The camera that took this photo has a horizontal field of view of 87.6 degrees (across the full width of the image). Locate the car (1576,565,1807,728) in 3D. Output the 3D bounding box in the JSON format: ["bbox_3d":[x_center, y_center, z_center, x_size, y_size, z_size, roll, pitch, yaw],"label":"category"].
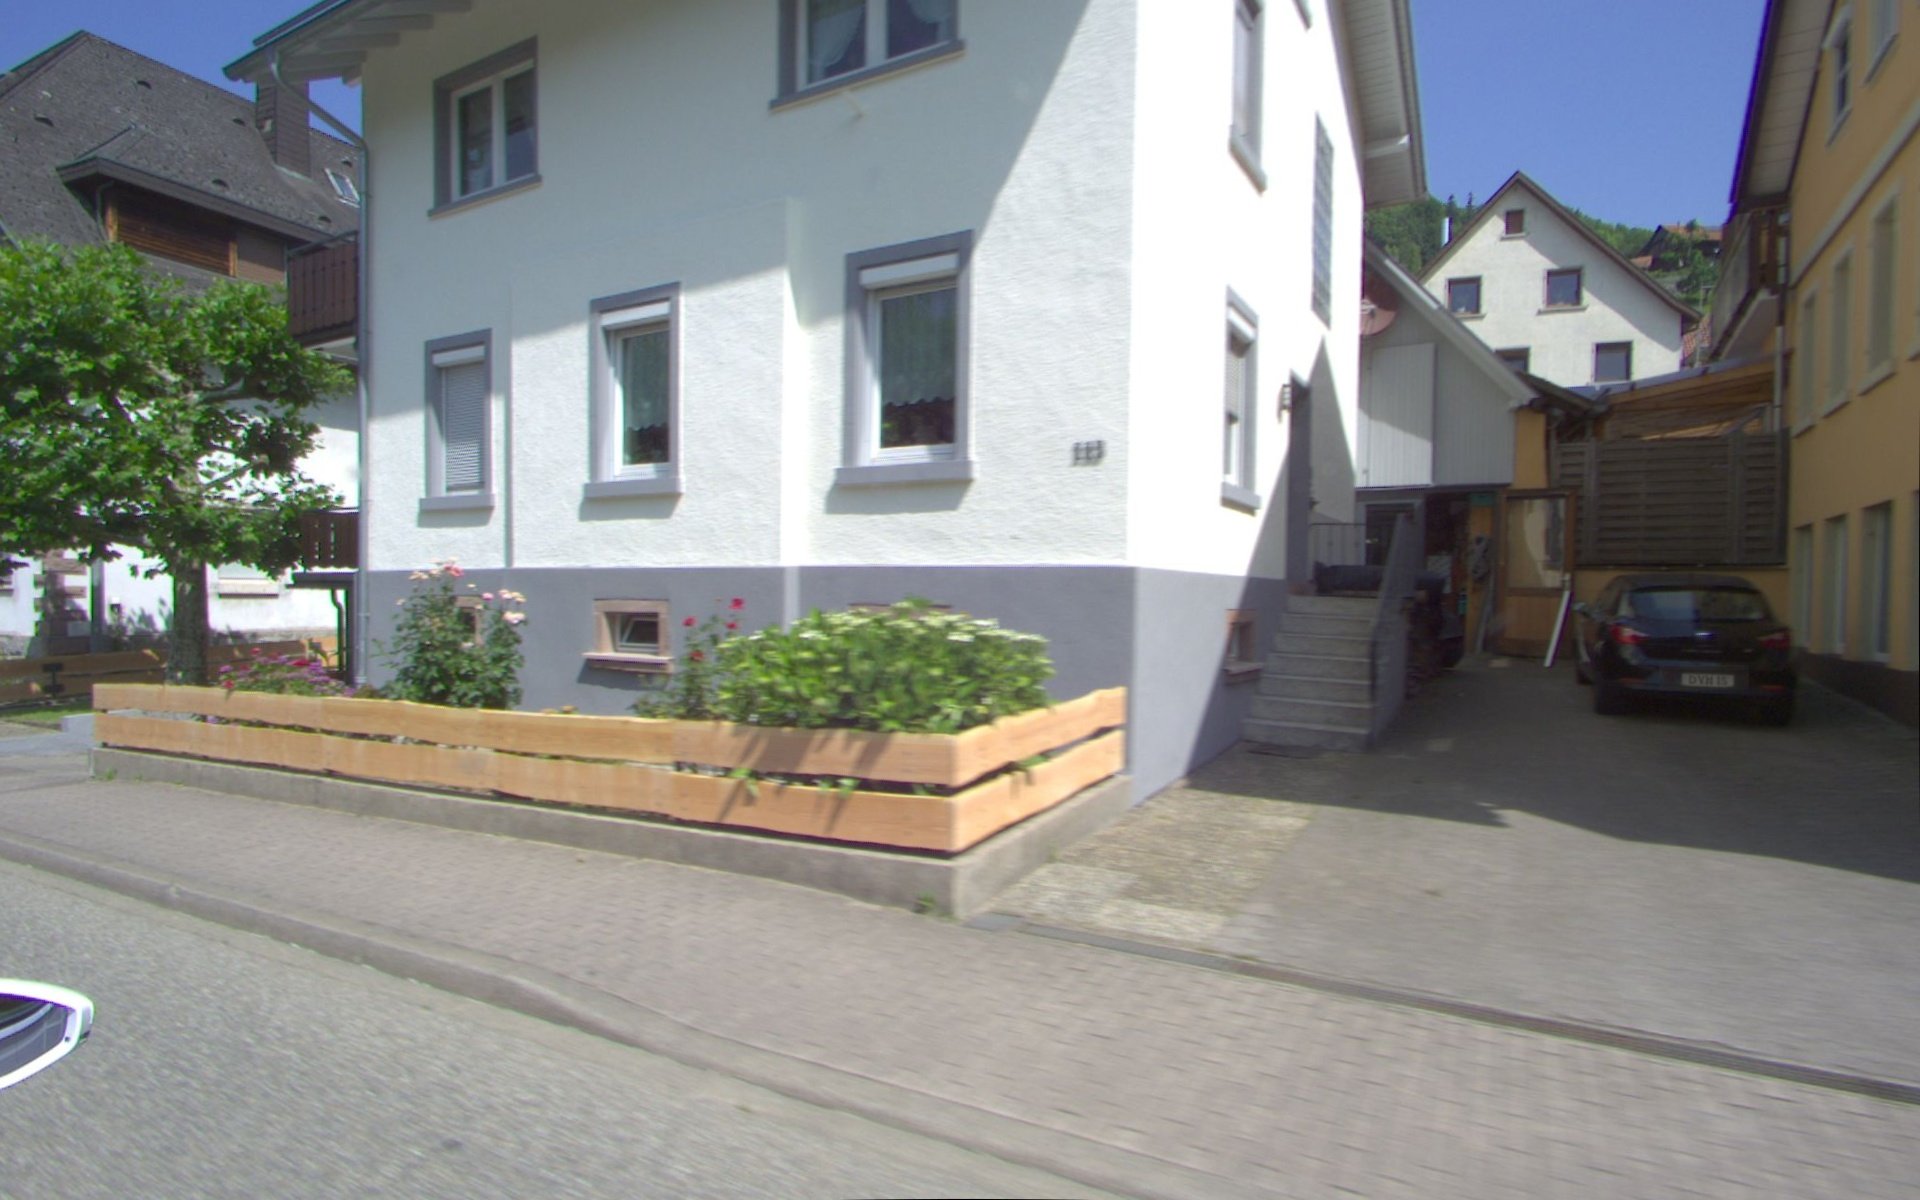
[{"bbox_3d":[7.861,0.390,11.076,1.572,1.395,3.805,-2,2,29],"label":"car"}]
